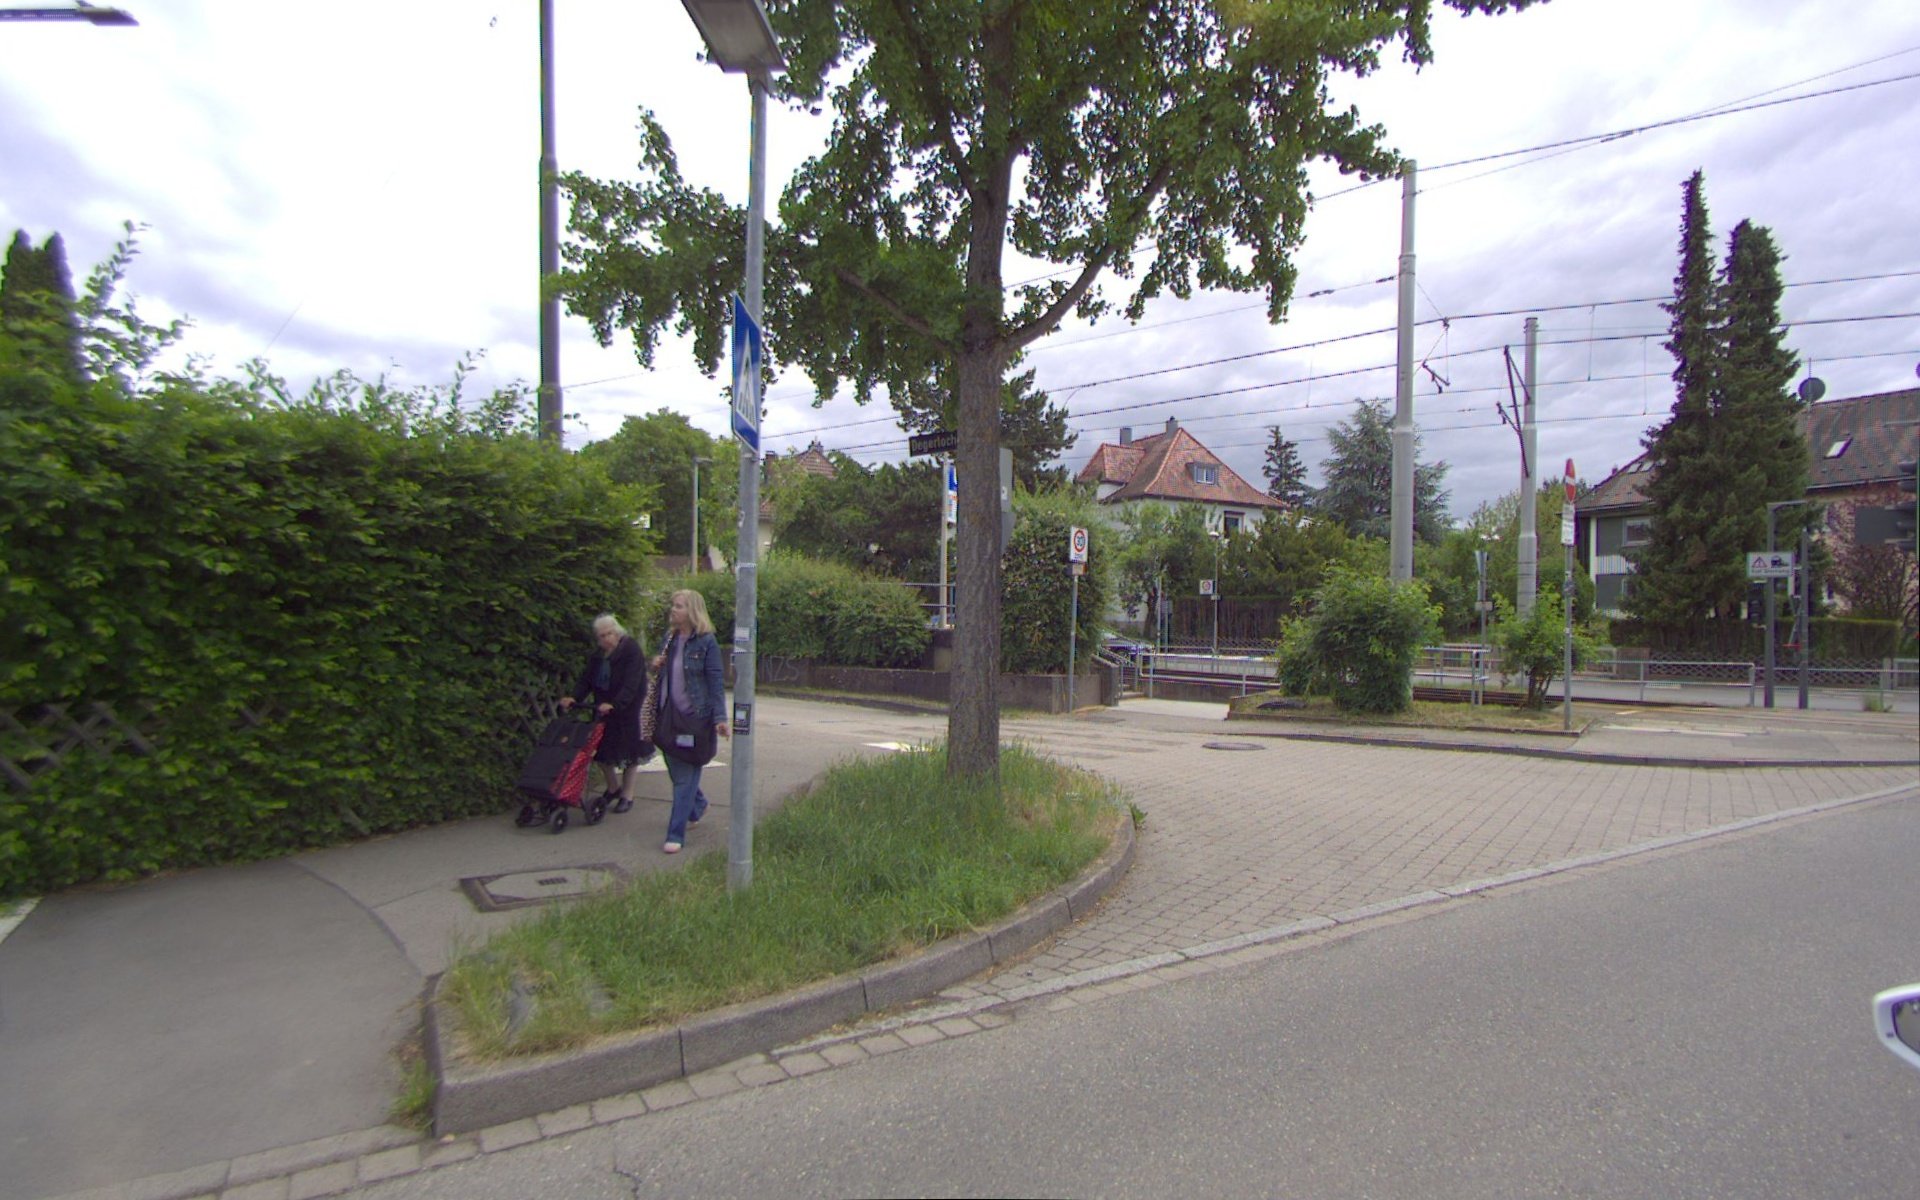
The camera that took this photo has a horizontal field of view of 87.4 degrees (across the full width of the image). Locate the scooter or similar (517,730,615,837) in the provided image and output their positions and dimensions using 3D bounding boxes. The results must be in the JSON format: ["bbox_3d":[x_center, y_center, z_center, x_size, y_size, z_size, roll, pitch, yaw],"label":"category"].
[{"bbox_3d":[-2.653,1.229,6.785,0.479,0.618,0.400,2,1,1],"label":"scooter or similar"}]

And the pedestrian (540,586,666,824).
[{"bbox_3d":[-2.575,0.728,7.295,0.664,1.641,0.598,2,1,1],"label":"pedestrian"}]

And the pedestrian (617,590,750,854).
[{"bbox_3d":[-1.801,0.766,6.608,0.664,1.641,0.598,2,1,1],"label":"pedestrian"}]

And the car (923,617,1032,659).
[{"bbox_3d":[0.641,1.461,39.106,3.937,1.500,1.847,0,-1,38],"label":"car"}]

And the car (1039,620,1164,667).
[{"bbox_3d":[5.012,1.507,35.738,4.052,1.521,1.816,0,-1,36],"label":"car"}]
